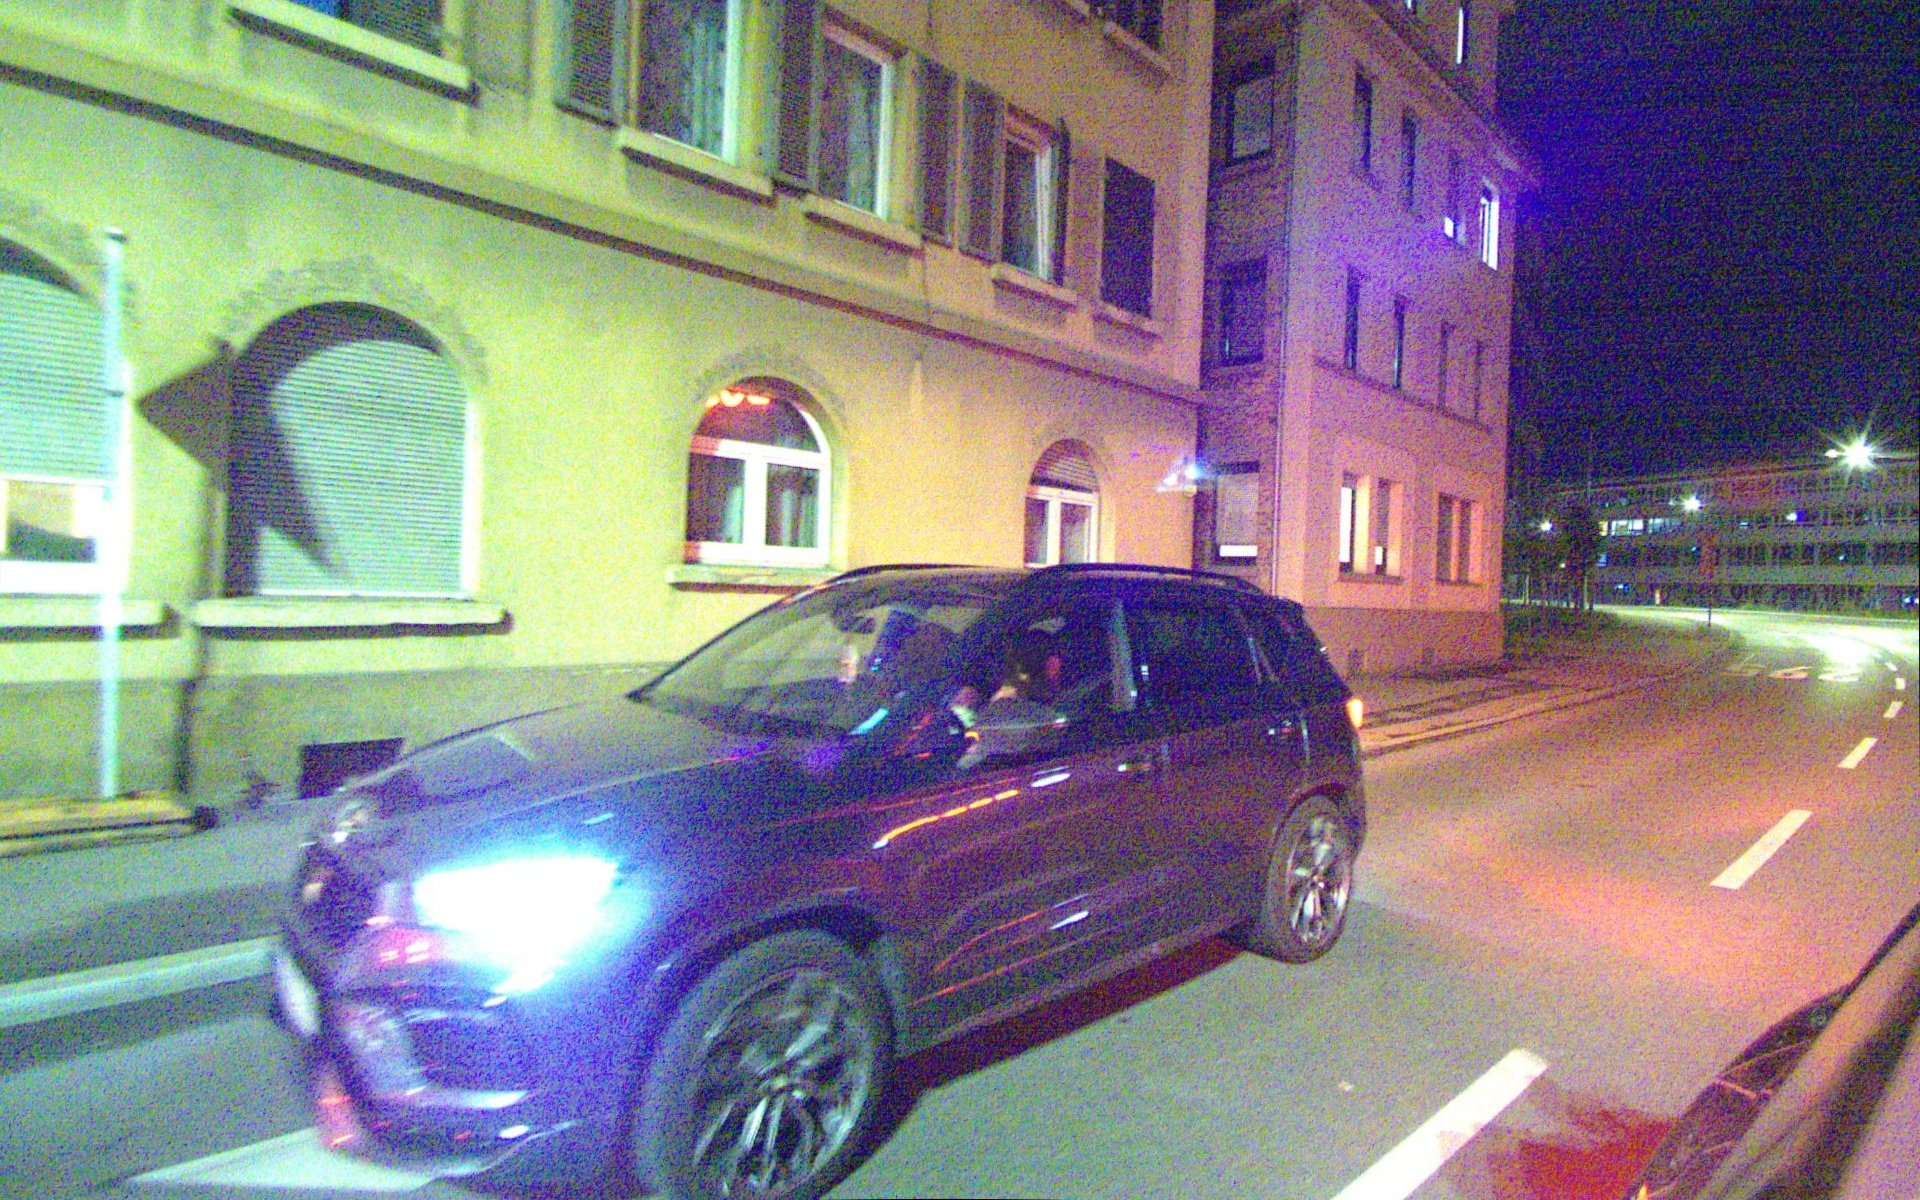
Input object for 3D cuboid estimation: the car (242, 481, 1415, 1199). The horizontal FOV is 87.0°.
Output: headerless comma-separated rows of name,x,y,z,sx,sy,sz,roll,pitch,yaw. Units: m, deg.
car,-0.032,0.558,3.780,4.158,1.630,1.672,-1,2,-43
